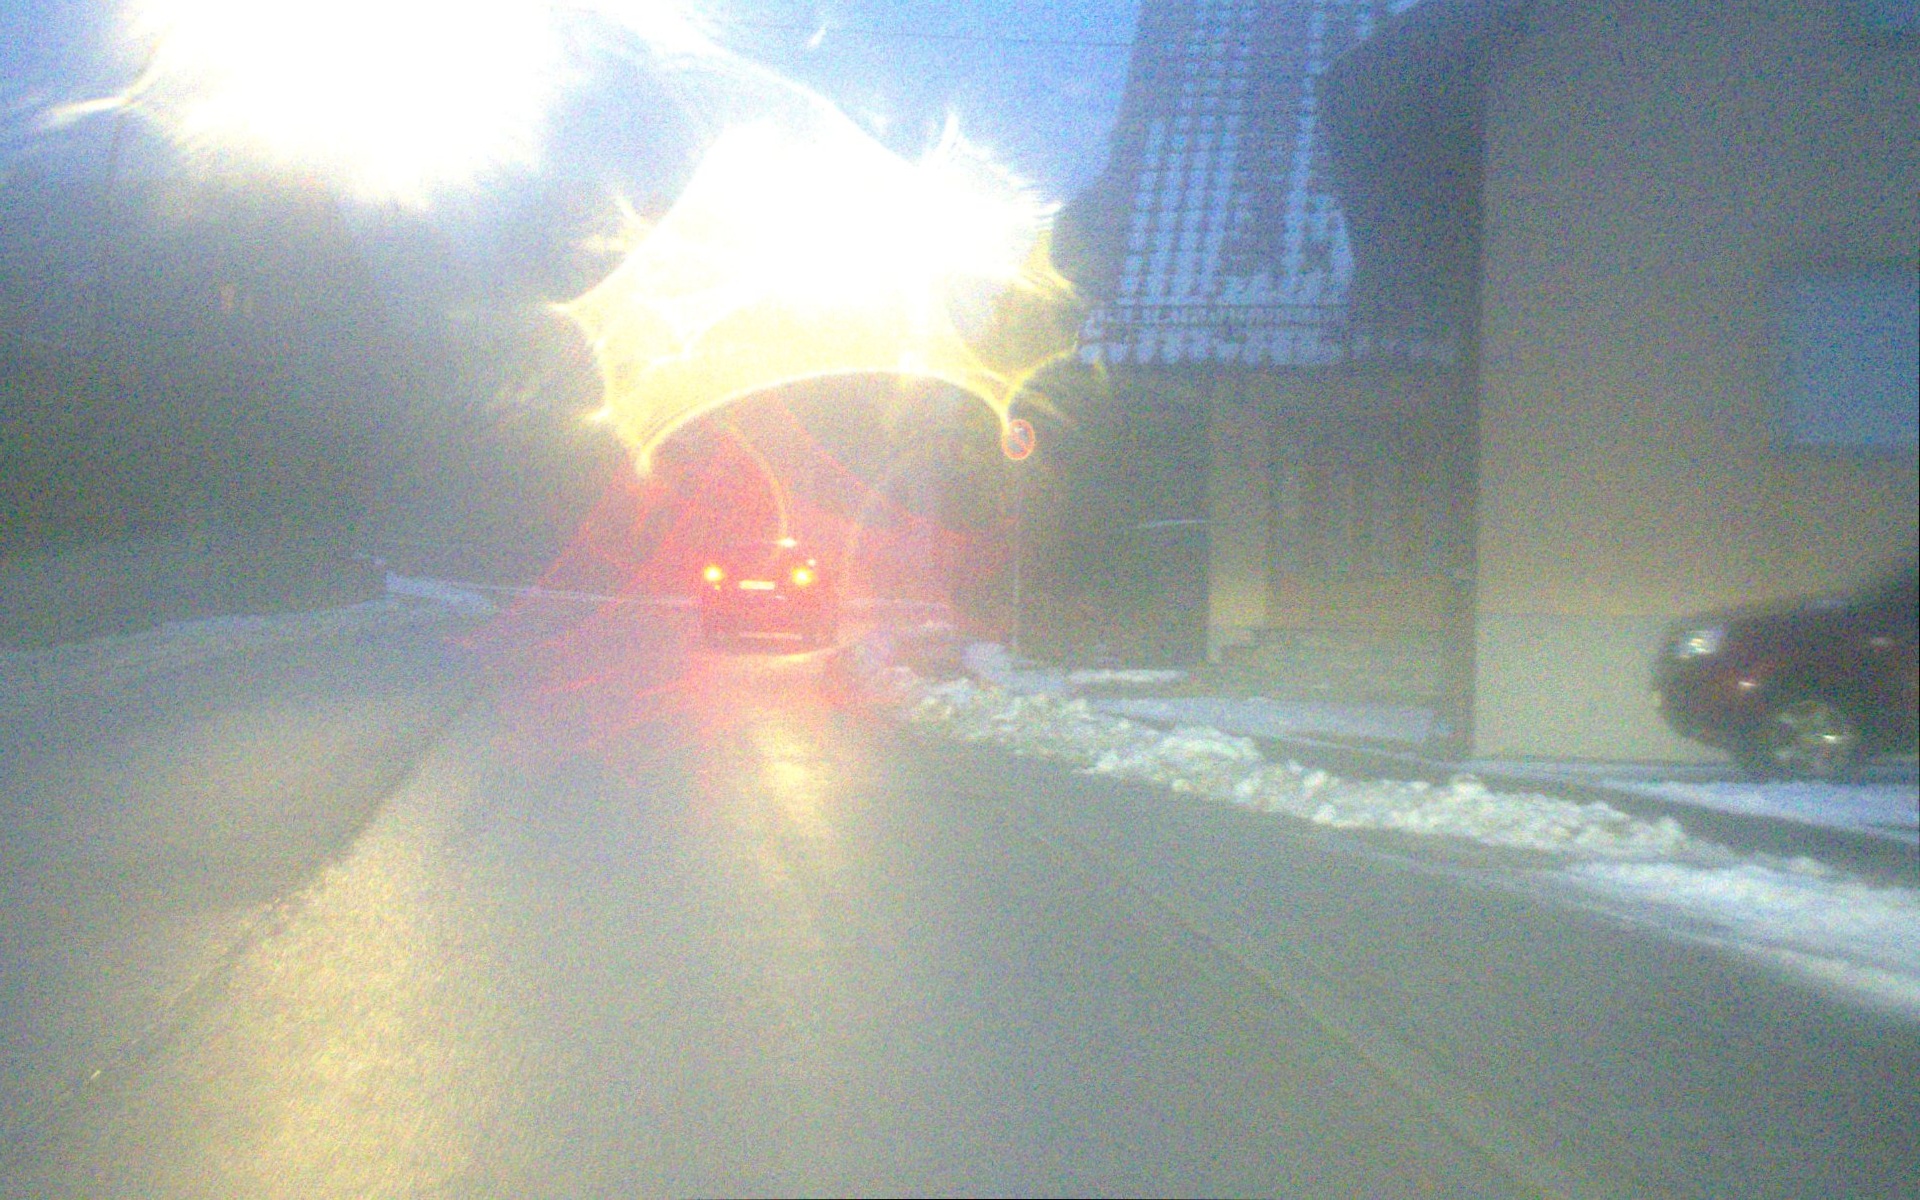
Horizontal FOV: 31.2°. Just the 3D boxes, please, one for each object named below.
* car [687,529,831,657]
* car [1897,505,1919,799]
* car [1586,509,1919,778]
[{"bbox_3d":[-3.028,-0.072,51.066,1.993,1.731,3.879,0,-2,-5],"label":"car"},{"bbox_3d":[7.208,0.251,18.008,4.244,1.554,1.999,-1,-2,10],"label":"car"},{"bbox_3d":[6.035,0.271,21.024,4.159,1.554,1.945,-1,-2,5],"label":"car"}]
